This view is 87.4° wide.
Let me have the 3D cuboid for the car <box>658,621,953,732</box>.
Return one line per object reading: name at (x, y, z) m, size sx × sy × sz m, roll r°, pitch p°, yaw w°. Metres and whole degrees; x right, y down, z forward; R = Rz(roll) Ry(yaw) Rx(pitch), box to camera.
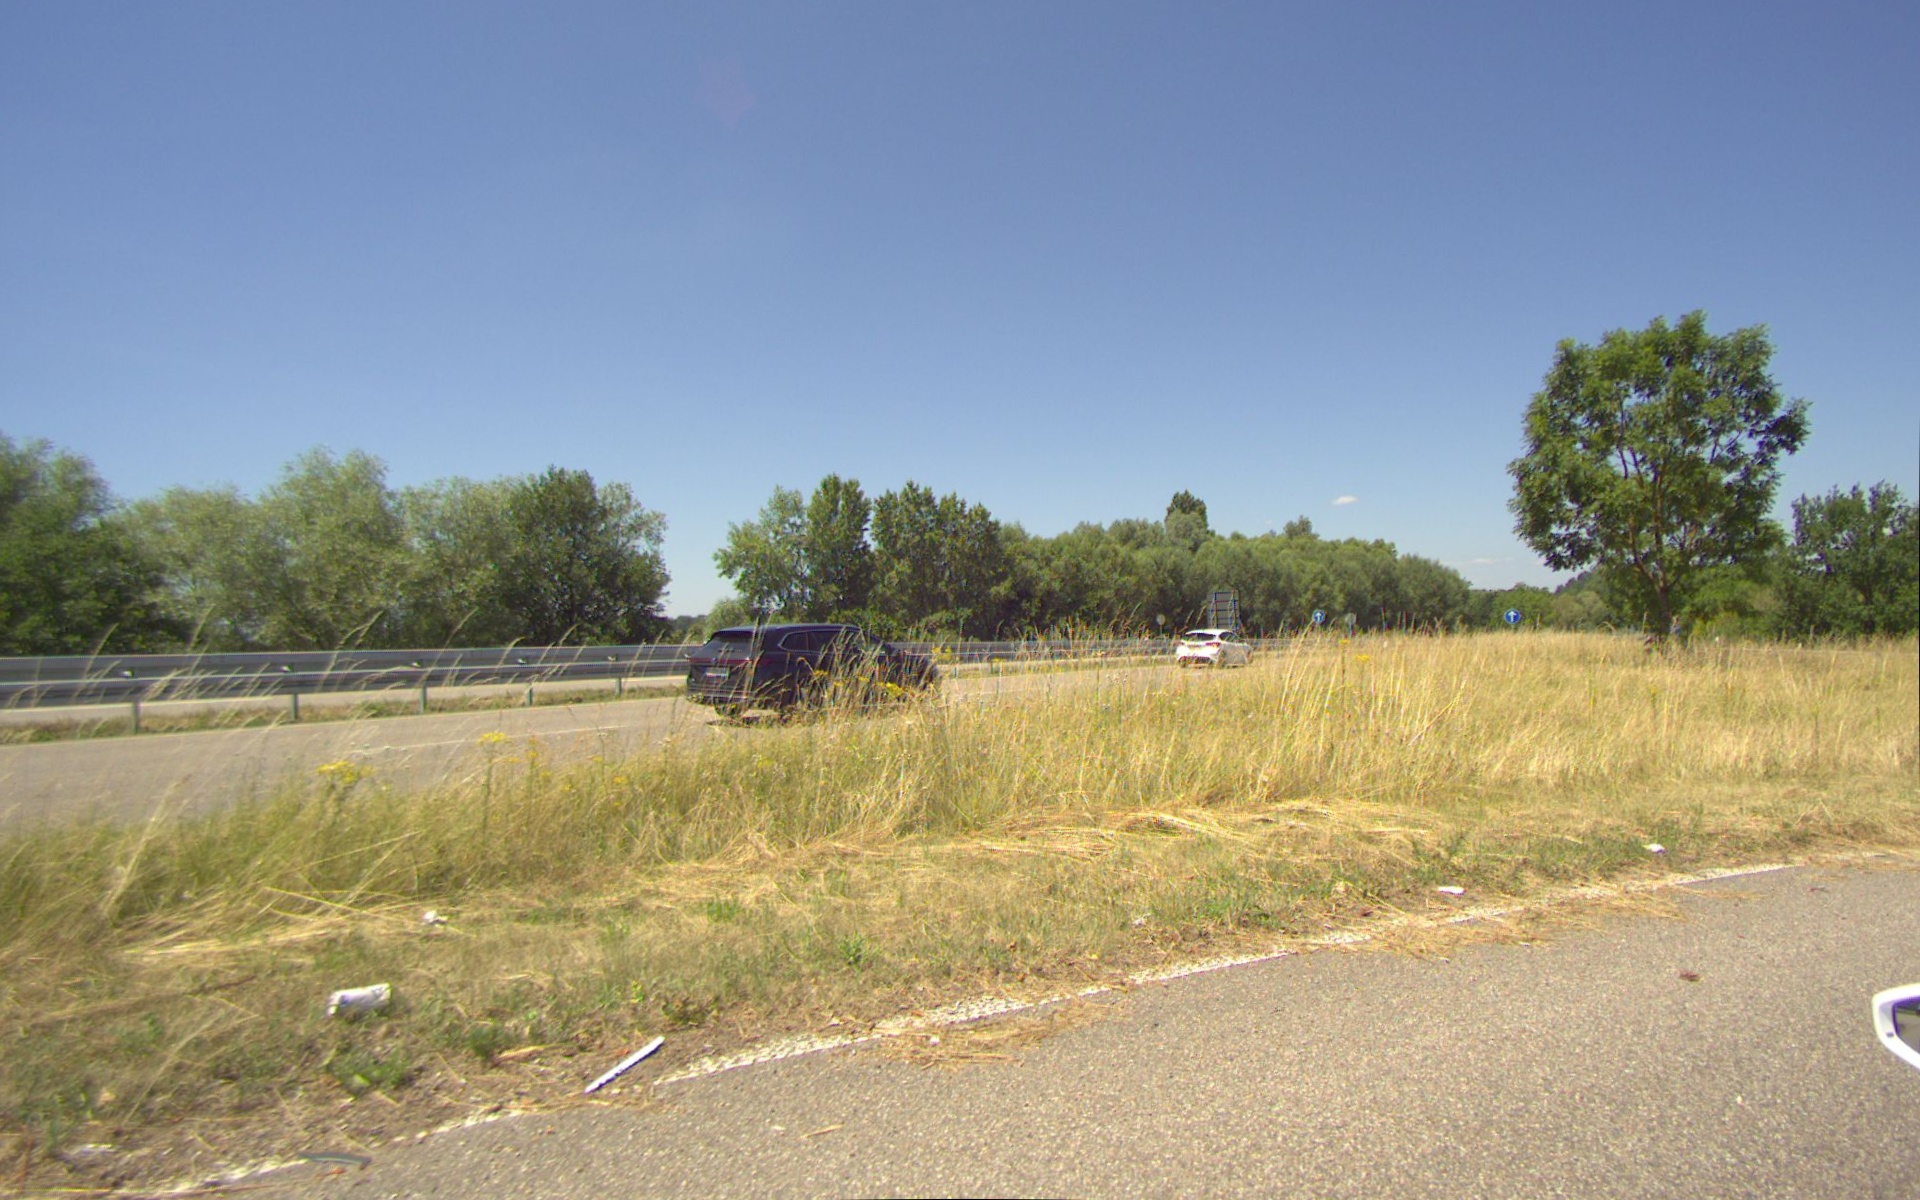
car at (-2.270, 1.111, 16.256) m, size 1.859 × 1.500 × 4.990 m, roll -1°, pitch -2°, yaw 33°
